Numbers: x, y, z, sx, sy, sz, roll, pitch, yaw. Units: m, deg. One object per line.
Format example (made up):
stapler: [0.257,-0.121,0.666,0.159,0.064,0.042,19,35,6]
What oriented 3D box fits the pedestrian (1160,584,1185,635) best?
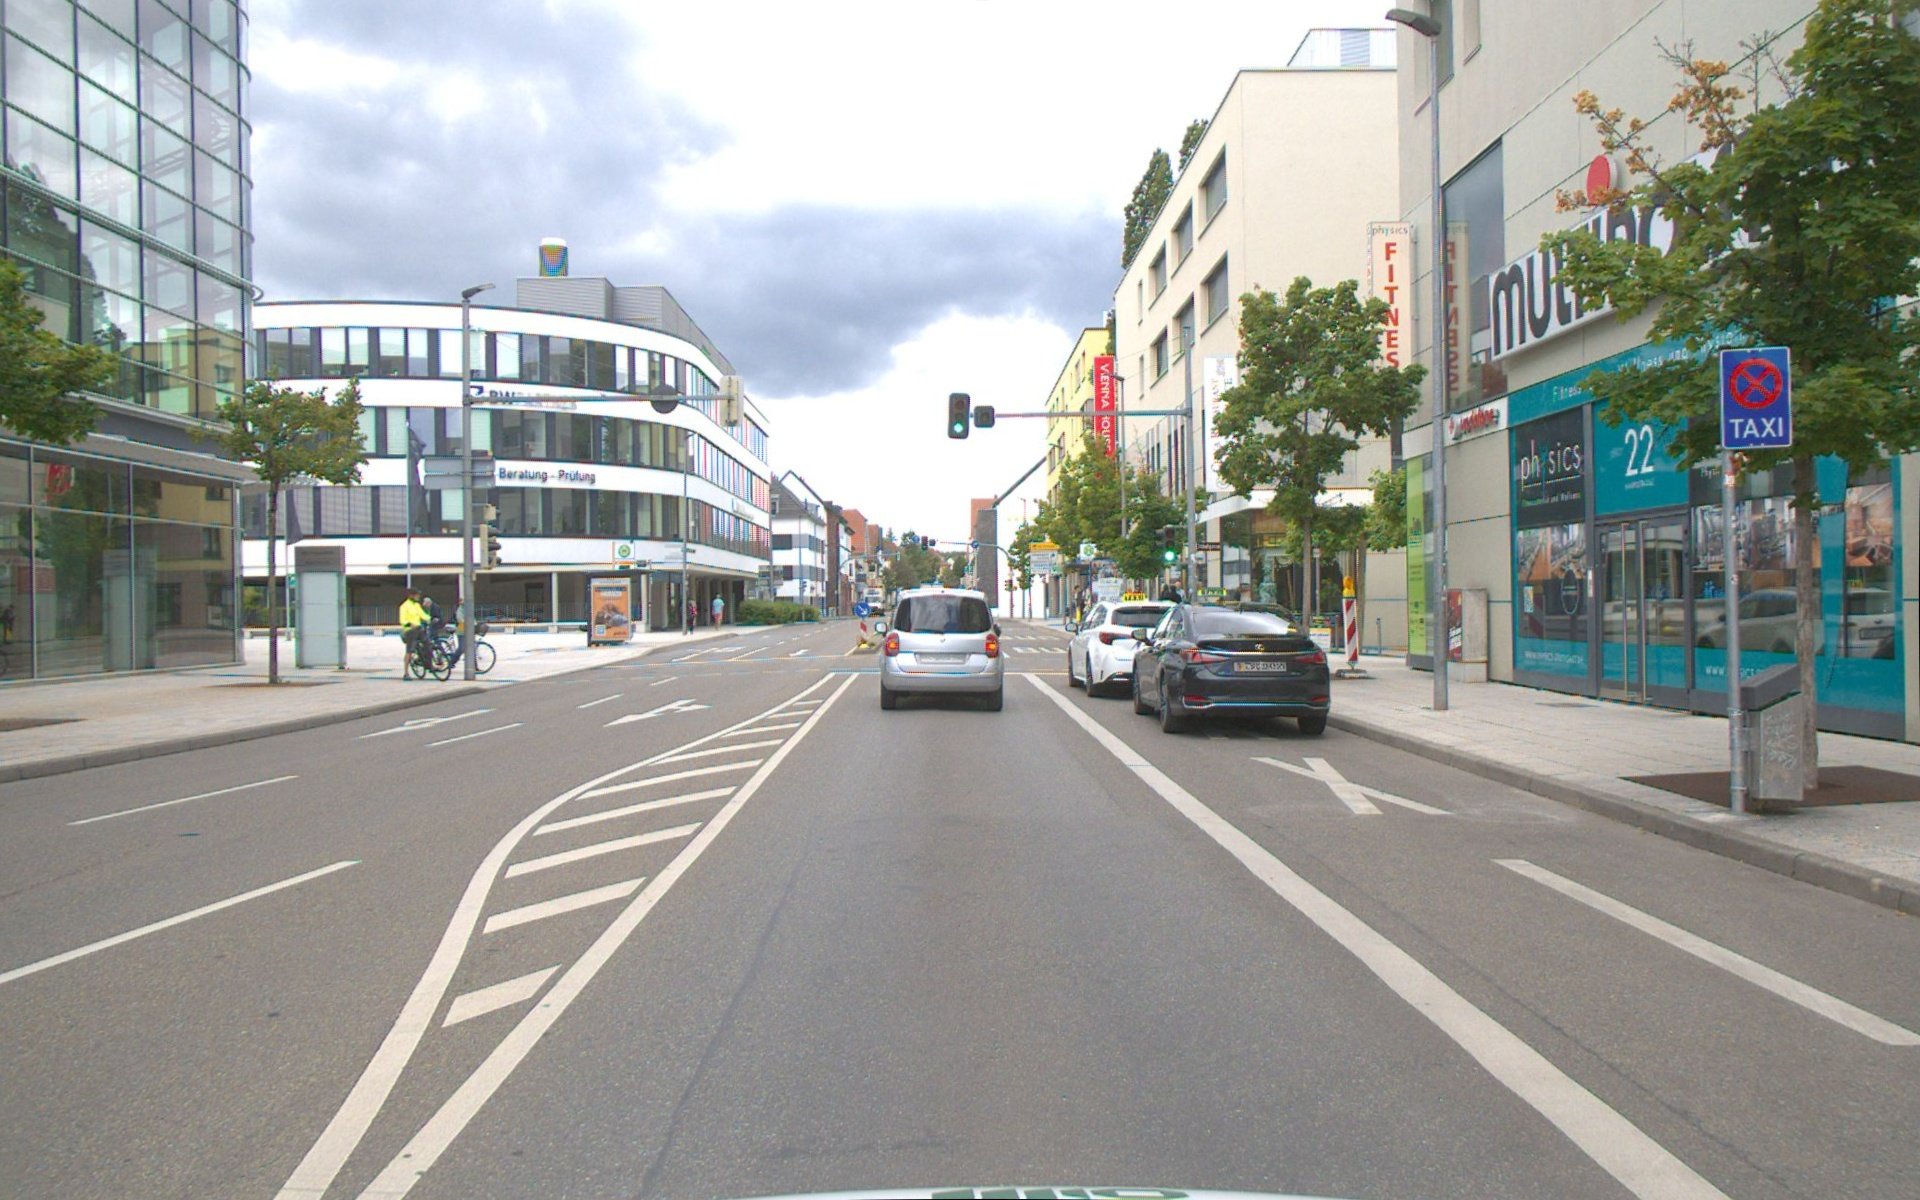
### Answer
pedestrian: [7.197,0.318,56.052,0.729,1.698,0.614,-1,0,-1]

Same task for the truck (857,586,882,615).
truck: [-9.714,0.041,178.314,2.385,3.005,8.362,-1,0,-1]

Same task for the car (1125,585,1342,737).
car: [3.124,0.648,19.830,1.701,1.569,4.789,1,0,-1]

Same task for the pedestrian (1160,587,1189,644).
pedestrian: [6.224,0.447,47.984,0.725,1.636,0.714,-1,0,-1]

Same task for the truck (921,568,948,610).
truck: [-2.377,-0.996,156.540,2.542,3.925,6.847,0,0,0]

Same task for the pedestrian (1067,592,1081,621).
pedestrian: [6.406,0.365,93.218,0.681,1.621,0.603,-2,0,-2]

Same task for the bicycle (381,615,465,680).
bicycle: [-10.906,0.953,33.581,1.996,1.227,0.743,2,0,44]

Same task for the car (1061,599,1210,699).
car: [2.688,0.718,26.228,1.747,1.450,4.513,0,0,-2]

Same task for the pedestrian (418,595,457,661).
pedestrian: [-15.761,0.835,49.880,0.894,1.979,0.739,1,-1,-40]

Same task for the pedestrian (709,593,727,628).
pedestrian: [-11.943,0.497,81.695,0.715,1.703,0.931,1,0,1]

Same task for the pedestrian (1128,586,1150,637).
pedestrian: [6.037,0.377,55.745,0.641,1.698,0.614,-1,0,-1]

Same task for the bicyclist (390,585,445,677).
bicyclist: [-10.988,0.626,33.484,0.761,1.831,0.743,1,0,43]

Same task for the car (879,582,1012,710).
car: [-0.222,0.595,23.157,1.672,1.606,3.999,1,0,-1]

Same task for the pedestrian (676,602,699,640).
pedestrian: [-11.770,0.909,71.513,0.812,1.594,0.813,1,0,4]

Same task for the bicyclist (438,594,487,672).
bicyclist: [-10.992,0.717,36.559,0.765,1.677,0.639,1,0,14]

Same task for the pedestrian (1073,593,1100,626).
pedestrian: [5.079,0.370,66.401,0.924,1.281,0.732,-2,-1,-4]

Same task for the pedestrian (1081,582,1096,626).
pedestrian: [5.237,0.168,67.513,0.567,1.800,0.857,-2,-1,4]

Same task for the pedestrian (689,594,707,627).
pedestrian: [-13.111,0.504,82.837,0.715,1.641,0.931,1,0,1]

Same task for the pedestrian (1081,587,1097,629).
pedestrian: [5.085,0.328,65.095,0.567,1.618,0.733,-2,-1,4]

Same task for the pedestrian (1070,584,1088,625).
pedestrian: [4.954,0.188,68.781,0.705,1.713,0.733,-2,-1,4]

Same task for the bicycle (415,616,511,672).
bicycle: [-10.971,0.968,36.532,1.957,1.150,0.639,2,0,14]
